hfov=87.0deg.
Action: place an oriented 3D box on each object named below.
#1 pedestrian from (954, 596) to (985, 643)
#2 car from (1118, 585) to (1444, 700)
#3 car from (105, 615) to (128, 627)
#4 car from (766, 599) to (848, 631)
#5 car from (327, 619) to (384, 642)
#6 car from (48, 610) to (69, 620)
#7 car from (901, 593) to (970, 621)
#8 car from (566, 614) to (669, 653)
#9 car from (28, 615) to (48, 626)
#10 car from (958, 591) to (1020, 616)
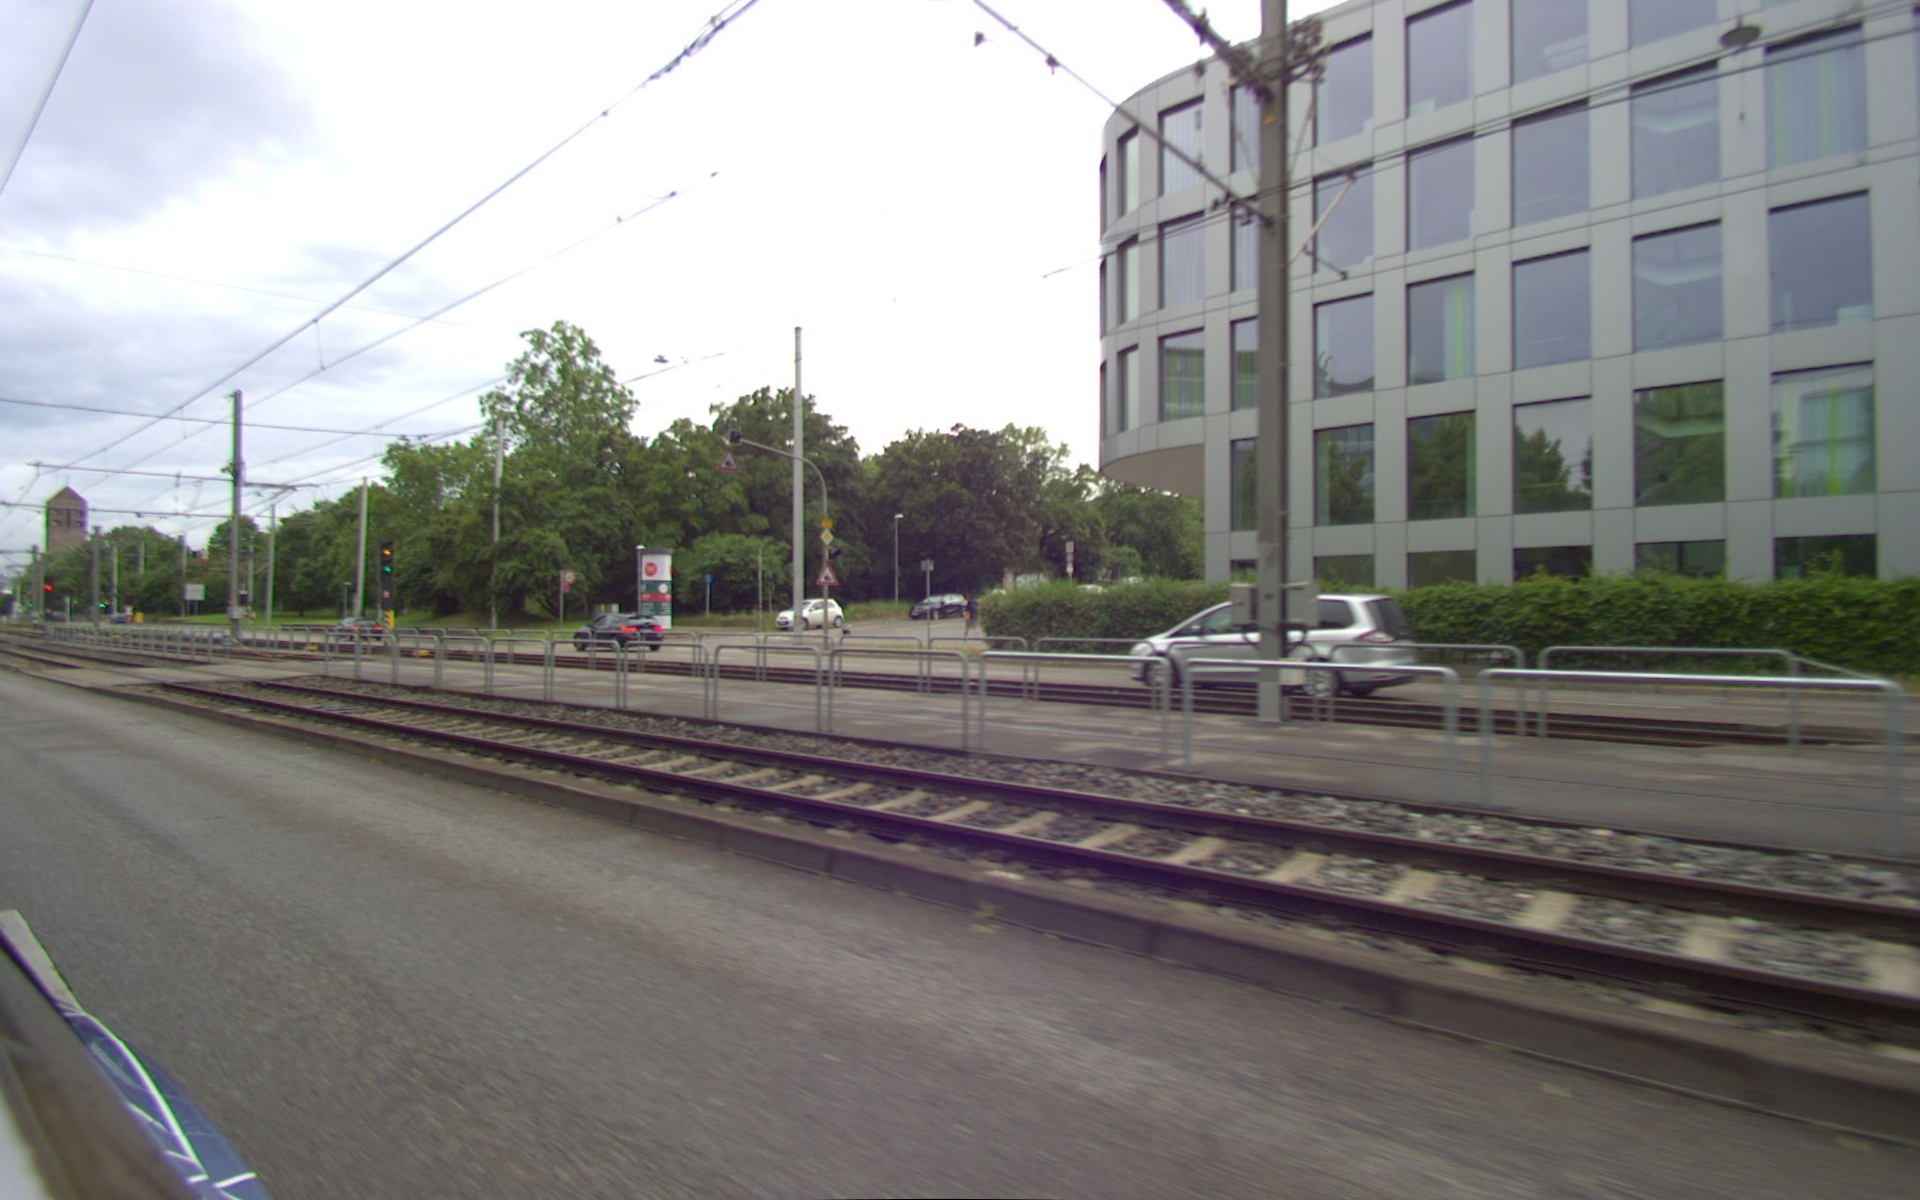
[{"bbox_3d":[0.346,0.686,36.528,0.845,1.660,0.716,0,0,42],"label":"pedestrian"},{"bbox_3d":[5.210,0.648,16.942,4.884,1.657,1.882,-1,-2,43],"label":"car"},{"bbox_3d":[-103.607,2.545,124.335,3.901,1.408,1.741,-1,-2,44],"label":"car"},{"bbox_3d":[-7.885,0.770,52.418,1.924,1.464,3.881,-1,1,39],"label":"car"},{"bbox_3d":[-35.211,1.759,58.945,3.986,1.253,1.738,-1,-2,41],"label":"car"},{"bbox_3d":[-137.626,2.297,154.468,4.848,1.607,1.926,-1,-2,44],"label":"car"},{"bbox_3d":[-1.404,0.395,59.800,1.871,1.464,4.035,-1,1,39],"label":"car"},{"bbox_3d":[-12.777,1.222,37.638,4.257,1.357,1.779,-1,-2,41],"label":"car"},{"bbox_3d":[-134.057,2.963,147.202,4.309,1.497,1.870,-1,-2,44],"label":"car"},{"bbox_3d":[1.879,0.186,64.256,1.871,1.421,4.035,-1,1,39],"label":"car"}]
